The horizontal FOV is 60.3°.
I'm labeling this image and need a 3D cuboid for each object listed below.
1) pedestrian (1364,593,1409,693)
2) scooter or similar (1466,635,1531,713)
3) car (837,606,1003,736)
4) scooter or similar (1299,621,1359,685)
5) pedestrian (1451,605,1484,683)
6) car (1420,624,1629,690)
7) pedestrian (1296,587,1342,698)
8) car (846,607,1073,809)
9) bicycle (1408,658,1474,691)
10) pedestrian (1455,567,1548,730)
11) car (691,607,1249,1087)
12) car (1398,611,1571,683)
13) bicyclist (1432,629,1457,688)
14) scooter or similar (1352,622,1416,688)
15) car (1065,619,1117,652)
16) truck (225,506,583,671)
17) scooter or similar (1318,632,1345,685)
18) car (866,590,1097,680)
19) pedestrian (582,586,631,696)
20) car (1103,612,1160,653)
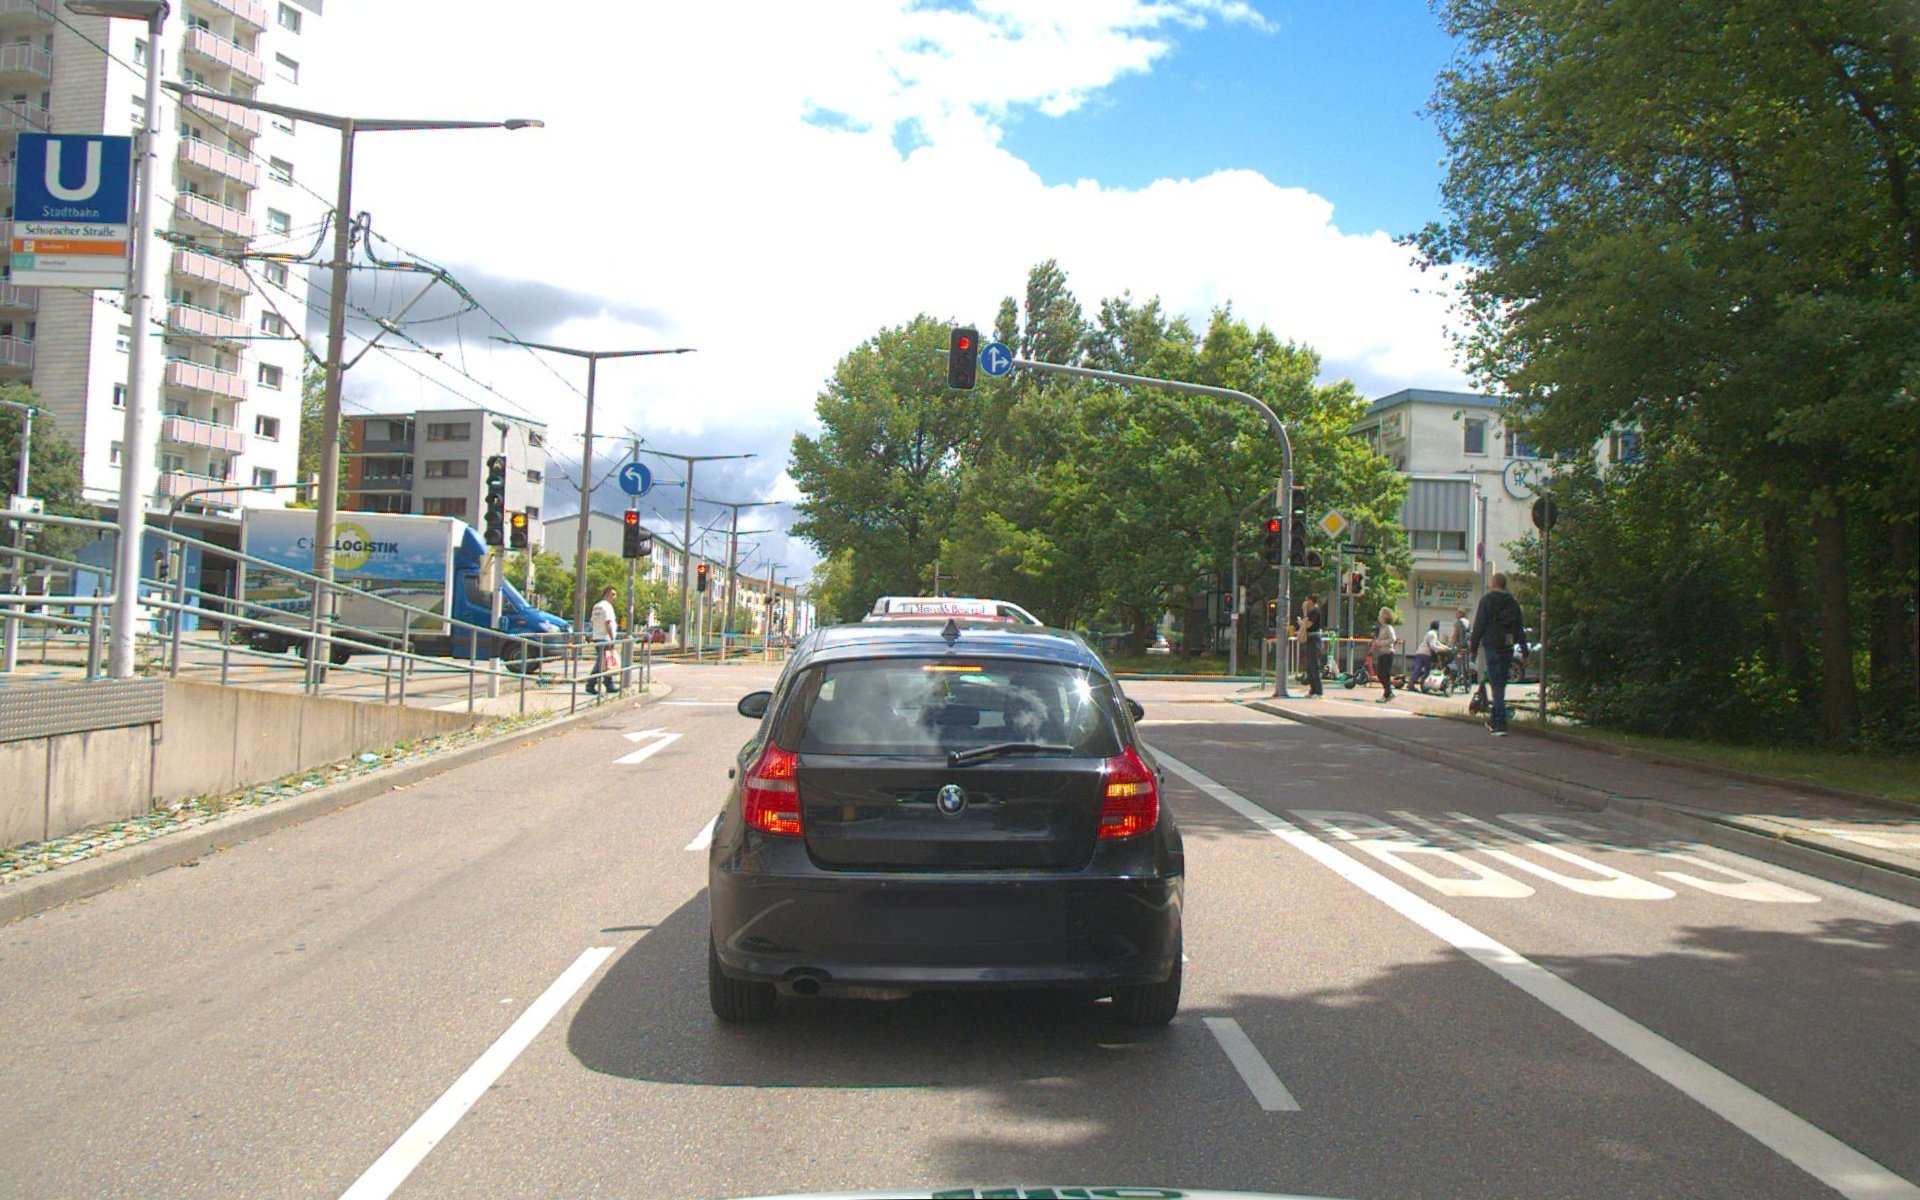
[{"bbox_3d":[7.767,0.773,30.131,0.624,1.797,0.517,1,-1,-11],"label":"pedestrian"},{"bbox_3d":[9.338,1.275,28.683,0.872,1.251,0.454,6,-1,-1],"label":"scooter or similar"},{"bbox_3d":[-0.484,0.817,21.083,1.862,1.447,4.538,1,0,-1],"label":"car"},{"bbox_3d":[7.431,1.056,33.317,1.087,1.257,0.539,1,-1,1],"label":"scooter or similar"},{"bbox_3d":[11.545,0.996,37.646,0.644,1.743,0.461,1,-1,25],"label":"pedestrian"},{"bbox_3d":[14.453,1.446,42.456,4.701,1.549,1.996,1,-1,-9],"label":"car"},{"bbox_3d":[6.275,0.742,28.920,0.624,1.909,0.517,1,-1,-11],"label":"pedestrian"},{"bbox_3d":[-0.027,0.791,13.621,1.605,1.424,3.419,1,0,-1],"label":"car"},{"bbox_3d":[9.865,1.525,33.965,0.524,0.620,1.583,1,0,-17],"label":"bicycle"},{"bbox_3d":[6.569,0.577,20.097,0.779,1.909,1.013,1,-1,0],"label":"pedestrian"},{"bbox_3d":[0.009,0.760,6.718,1.666,1.424,3.419,1,0,-1],"label":"car"},{"bbox_3d":[15.338,1.347,48.463,4.451,2.049,1.996,0,0,-9],"label":"car"},{"bbox_3d":[9.999,1.209,34.118,0.390,1.177,0.503,4,0,20],"label":"bicyclist"},{"bbox_3d":[8.734,1.127,34.084,1.127,1.294,0.555,2,-1,1],"label":"scooter or similar"},{"bbox_3d":[7.166,1.941,90.764,1.830,1.691,3.988,2,-1,-12],"label":"car"},{"bbox_3d":[-12.161,-0.210,36.788,7.136,3.407,2.602,1,-1,-10],"label":"truck"},{"bbox_3d":[7.864,1.220,35.002,0.536,1.082,1.263,1,0,13],"label":"scooter or similar"},{"bbox_3d":[0.459,0.813,38.588,5.077,1.926,1.995,1,-1,-11],"label":"car"},{"bbox_3d":[-5.807,0.667,27.158,0.677,1.764,0.684,1,-1,-19],"label":"pedestrian"},{"bbox_3d":[8.249,1.550,79.833,1.694,1.904,3.991,2,-1,-9],"label":"car"}]
